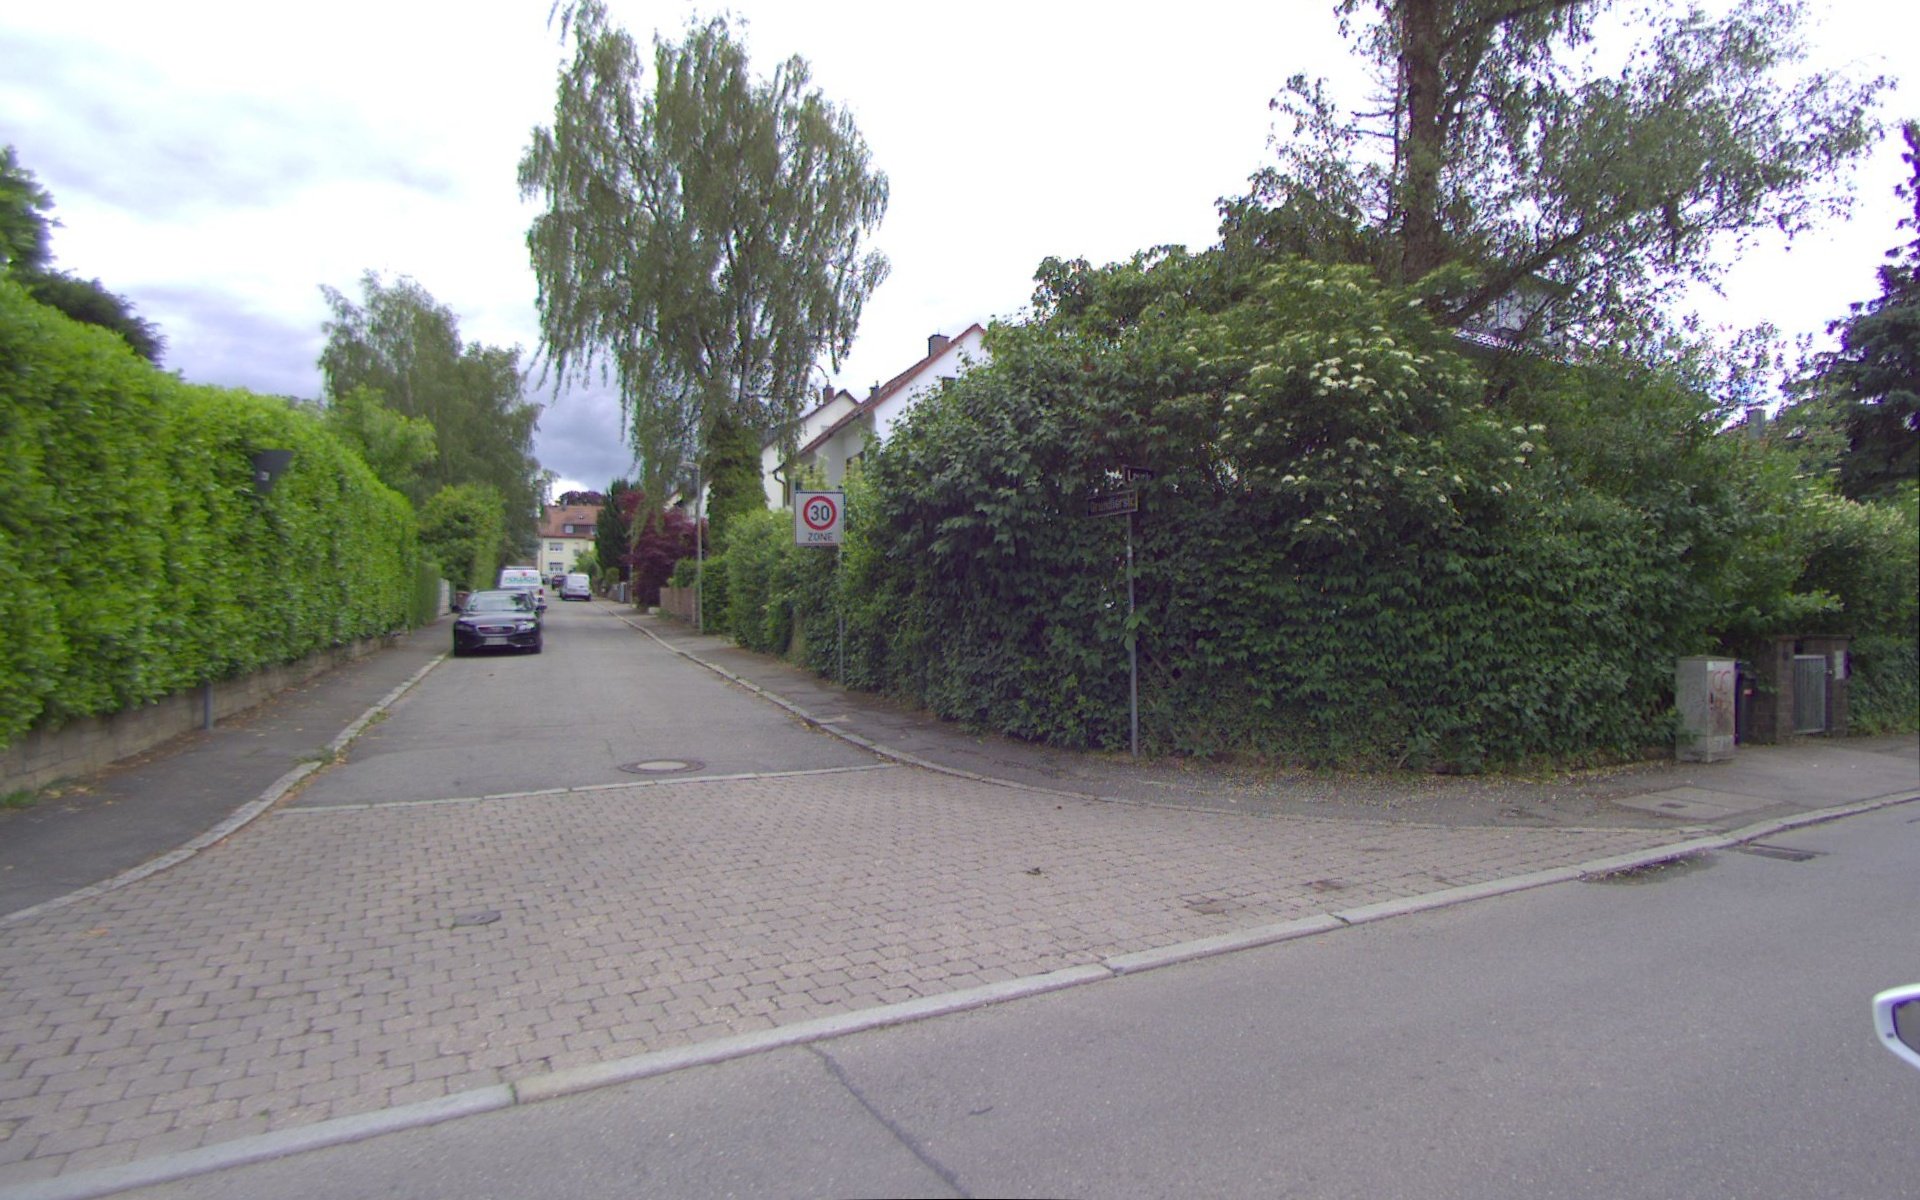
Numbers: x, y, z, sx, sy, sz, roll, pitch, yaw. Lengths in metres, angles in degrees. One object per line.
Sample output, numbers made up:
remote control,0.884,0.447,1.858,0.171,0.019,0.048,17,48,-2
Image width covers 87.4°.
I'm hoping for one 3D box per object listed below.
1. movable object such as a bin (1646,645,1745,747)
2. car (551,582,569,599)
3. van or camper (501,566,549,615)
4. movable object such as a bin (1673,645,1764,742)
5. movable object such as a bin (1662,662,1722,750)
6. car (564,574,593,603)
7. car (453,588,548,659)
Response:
movable object such as a bin,8.984,1.148,12.276,0.715,1.141,0.723,1,2,-33
car,-45.747,-1.130,115.015,1.820,1.865,3.980,0,1,-21
van or camper,-19.792,-0.465,45.776,1.911,2.097,3.977,0,1,-23
movable object such as a bin,9.587,1.159,12.710,0.579,1.132,0.723,1,2,-33
movable object such as a bin,8.562,1.232,11.753,0.507,0.964,0.376,1,2,-34
car,-25.897,-0.814,68.250,1.820,1.865,3.980,0,1,-21
car,-10.529,0.471,23.250,1.821,1.435,3.978,0,1,-23
